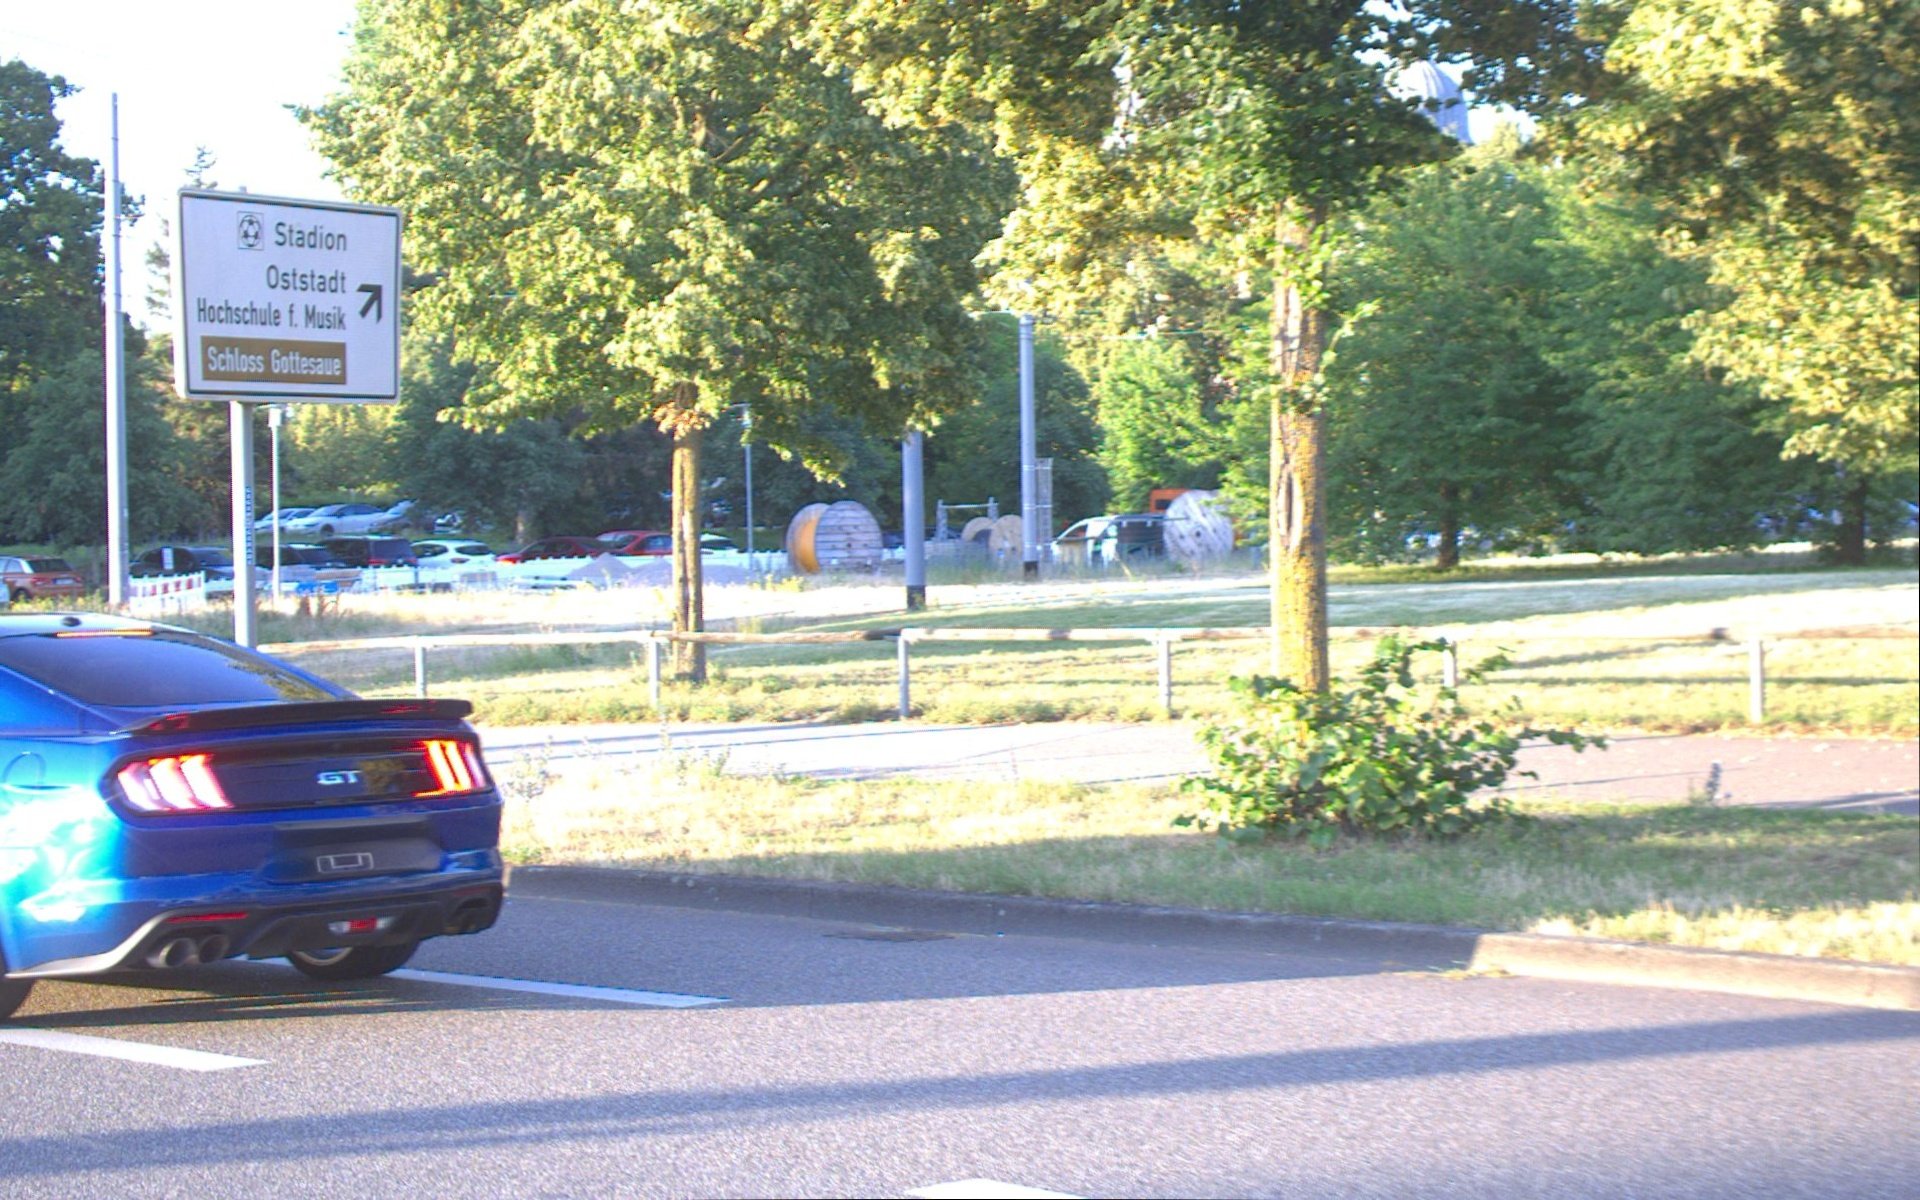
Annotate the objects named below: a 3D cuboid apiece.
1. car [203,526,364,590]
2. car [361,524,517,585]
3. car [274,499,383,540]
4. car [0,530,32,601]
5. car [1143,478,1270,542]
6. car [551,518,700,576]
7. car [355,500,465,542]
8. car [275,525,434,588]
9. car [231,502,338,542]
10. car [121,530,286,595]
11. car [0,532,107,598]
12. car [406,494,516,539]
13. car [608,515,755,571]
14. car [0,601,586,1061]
[{"bbox_3d":[-17.653,-1.089,89.682,3.995,1.548,1.899,-1,1,37],"label":"car"},{"bbox_3d":[-14.212,-1.234,93.741,3.995,1.548,1.899,-1,1,37],"label":"car"},{"bbox_3d":[-25.762,-3.301,140.311,1.902,1.548,3.991,-1,2,41],"label":"car"},{"bbox_3d":[-24.327,-0.788,82.416,3.995,1.656,1.949,-1,1,37],"label":"car"},{"bbox_3d":[8.567,-3.120,119.563,3.995,2.088,1.899,-1,1,37],"label":"car"},{"bbox_3d":[-9.654,-1.529,99.080,3.995,1.548,1.899,-1,1,37],"label":"car"},{"bbox_3d":[-21.874,-3.162,136.865,1.902,1.548,3.991,-1,2,41],"label":"car"},{"bbox_3d":[-16.139,-1.157,91.578,3.995,1.548,1.899,-1,1,37],"label":"car"},{"bbox_3d":[-27.932,-3.228,142.221,1.902,1.548,3.991,-1,2,41],"label":"car"},{"bbox_3d":[-19.399,-0.965,88.094,4.094,1.548,1.899,-1,1,37],"label":"car"},{"bbox_3d":[-23.080,-0.847,84.606,3.995,1.548,1.899,-1,1,37],"label":"car"},{"bbox_3d":[-19.598,-3.293,135.152,1.998,1.738,3.991,1,1,40],"label":"car"},{"bbox_3d":[-8.193,-1.671,101.058,3.995,1.548,1.899,-1,1,37],"label":"car"},{"bbox_3d":[-3.650,0.688,12.545,4.667,1.337,1.953,0,1,43],"label":"car"}]
